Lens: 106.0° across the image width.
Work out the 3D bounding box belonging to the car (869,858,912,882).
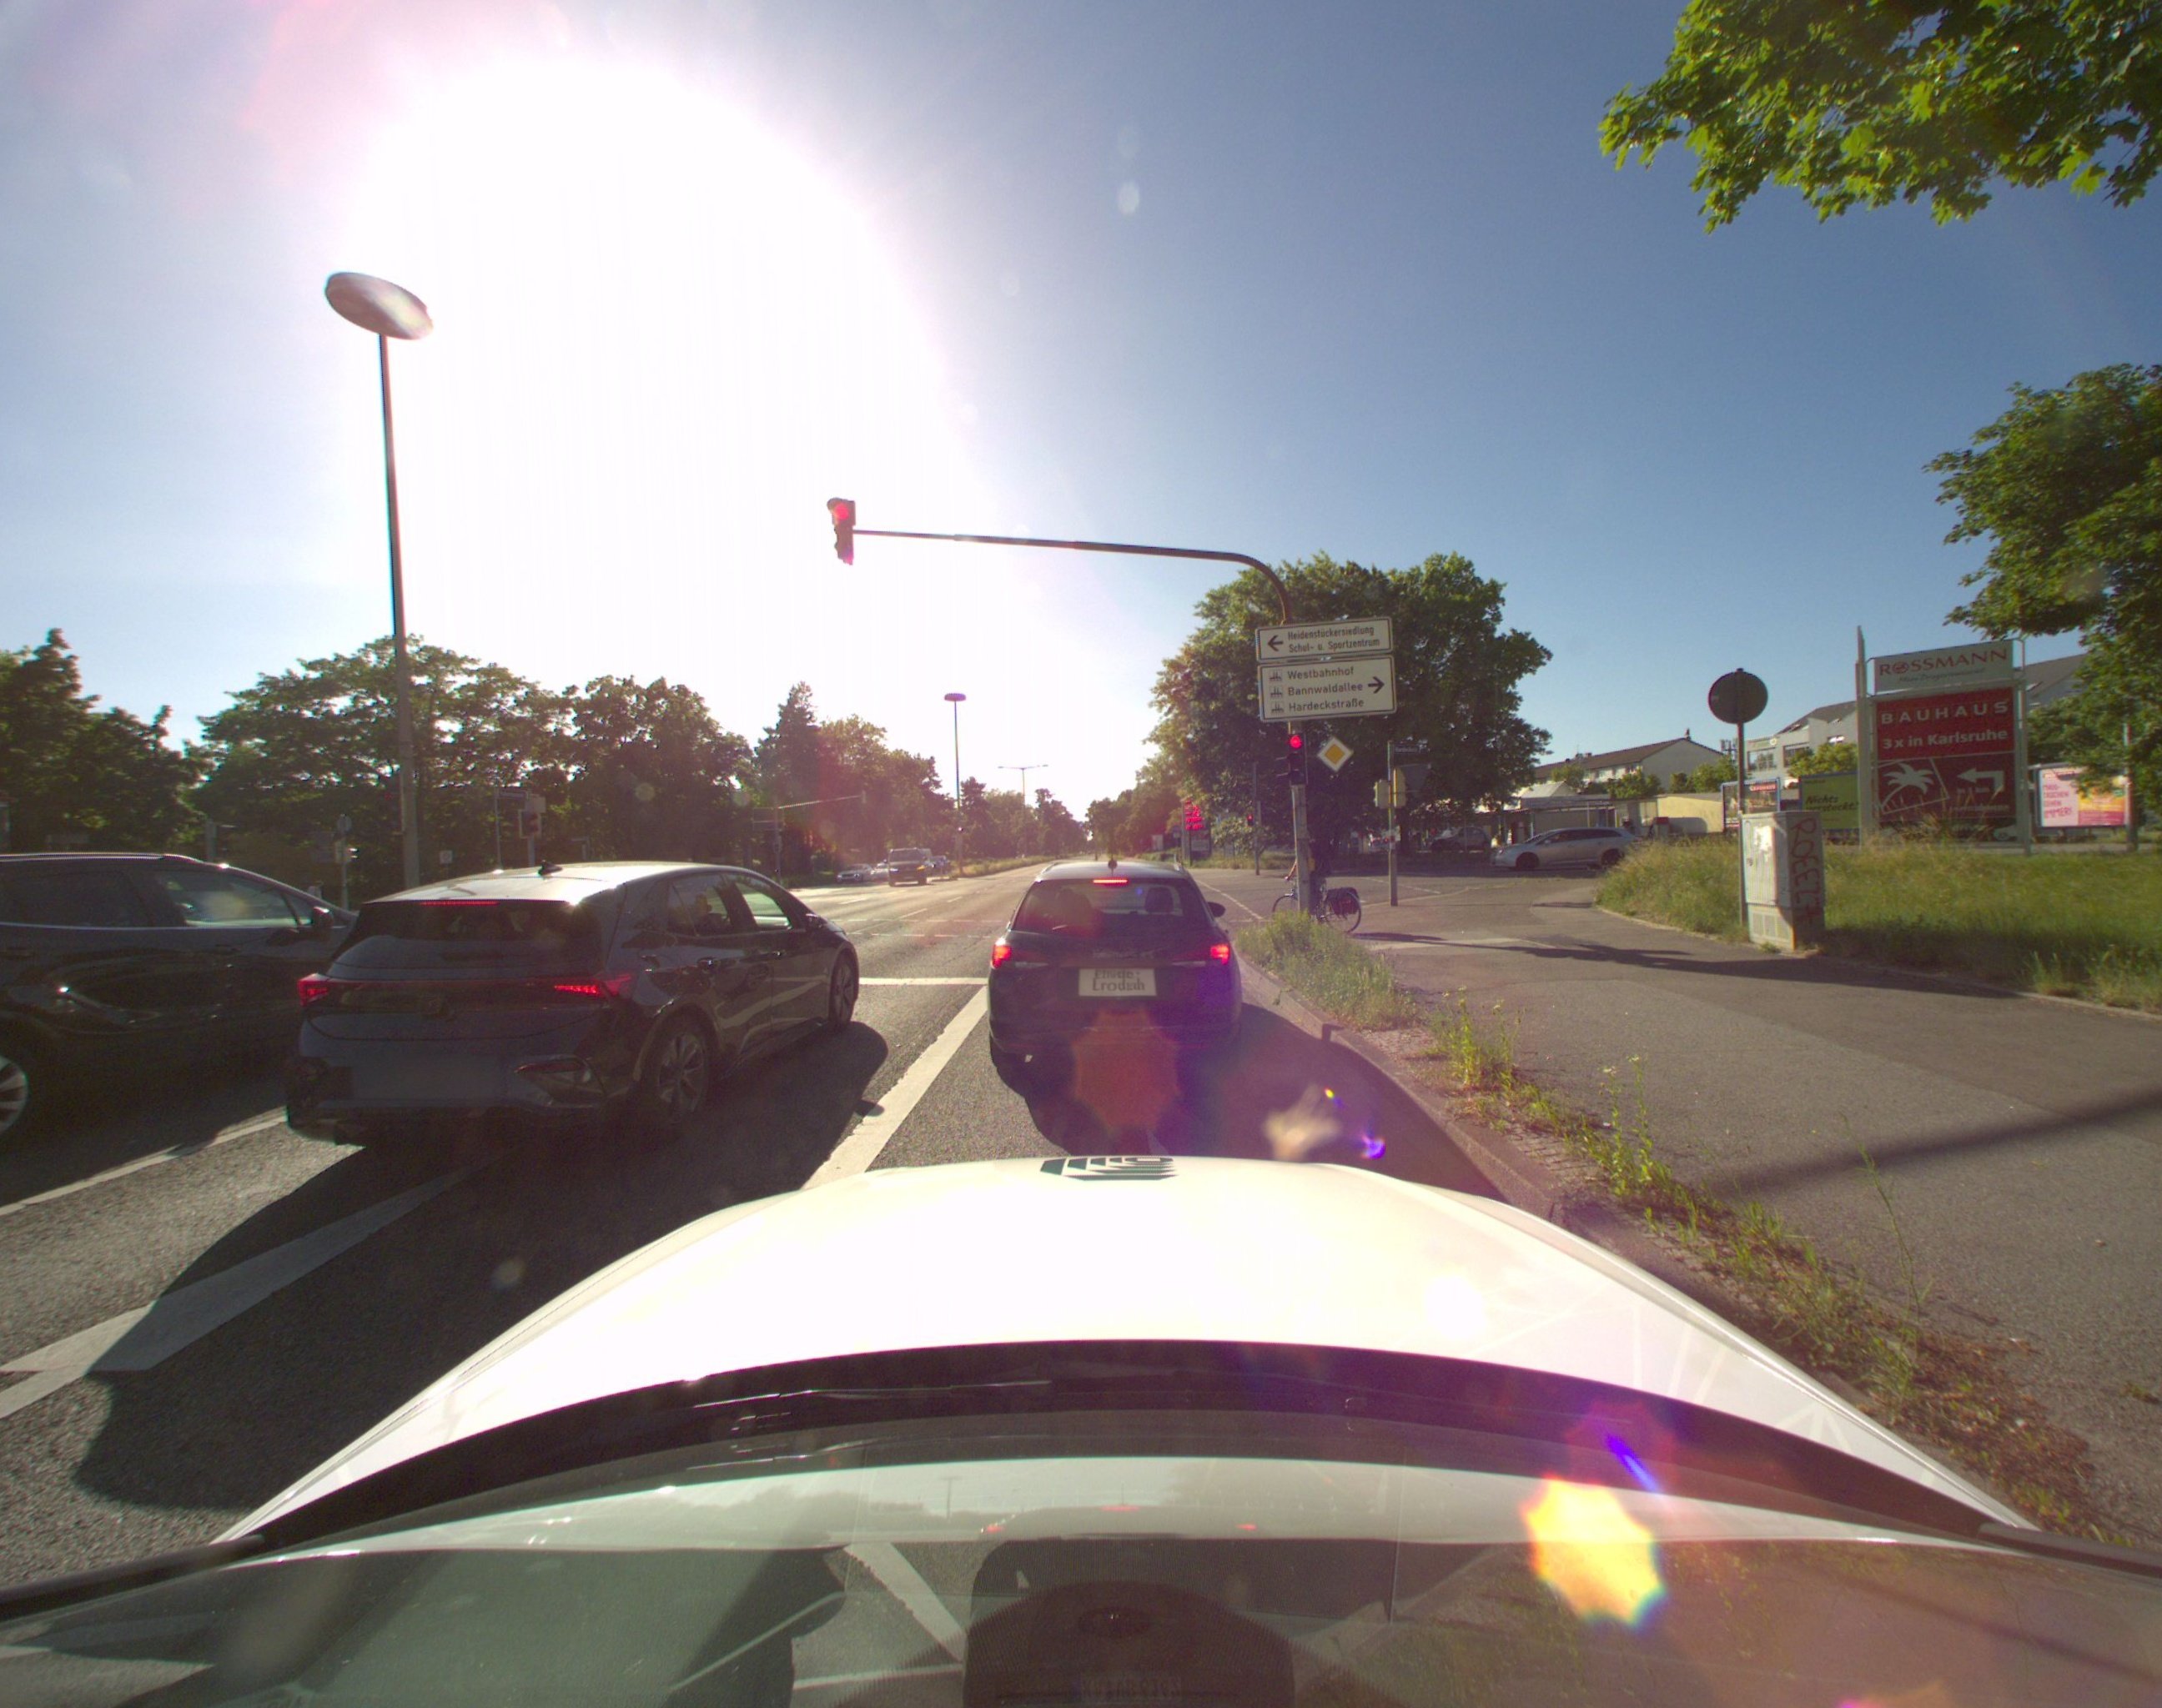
[{"bbox_3d":[-13.914,1.154,59.599,1.881,1.524,4.506,-3,0,2],"label":"car"}]

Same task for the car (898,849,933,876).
[{"bbox_3d":[-16.736,0.823,82.634,2.092,2.492,6.006,-3,0,2],"label":"car"}]

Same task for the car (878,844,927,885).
[{"bbox_3d":[-9.655,0.578,43.863,1.917,1.992,4.982,-3,0,-19],"label":"car"}]

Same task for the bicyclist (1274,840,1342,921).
[{"bbox_3d":[3.720,0.441,13.369,0.541,1.277,0.819,-3,-2,-42],"label":"bicyclist"}]

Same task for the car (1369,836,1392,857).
[{"bbox_3d":[25.657,-0.658,69.770,1.725,1.680,4.020,-3,0,20],"label":"car"}]

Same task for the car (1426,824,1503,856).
[{"bbox_3d":[22.377,-0.816,47.520,4.002,1.680,1.733,-3,0,-21],"label":"car"}]

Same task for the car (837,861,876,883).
[{"bbox_3d":[-17.122,1.344,62.294,1.680,1.509,4.005,-3,0,2],"label":"car"}]

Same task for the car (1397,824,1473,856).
[{"bbox_3d":[21.476,-0.842,49.400,4.003,1.750,1.985,-2,0,-22],"label":"car"}]

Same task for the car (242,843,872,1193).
[{"bbox_3d":[-2.957,0.767,5.849,1.678,1.580,4.208,-1,0,2],"label":"car"}]

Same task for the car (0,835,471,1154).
[{"bbox_3d":[-6.618,0.782,5.512,1.798,1.689,4.002,-3,0,2],"label":"car"}]

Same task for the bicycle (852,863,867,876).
[{"bbox_3d":[-22.683,1.546,83.497,0.873,1.212,2.534,-3,0,-3],"label":"bicycle"}]

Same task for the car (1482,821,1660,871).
[{"bbox_3d":[17.159,-0.264,28.787,4.969,1.486,2.007,-2,0,13],"label":"car"}]

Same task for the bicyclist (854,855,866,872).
[{"bbox_3d":[-22.673,0.944,83.438,0.874,1.648,1.198,-3,0,-3],"label":"bicyclist"}]

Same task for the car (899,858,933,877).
[{"bbox_3d":[-13.693,1.112,67.682,1.680,1.433,4.617,-3,0,2],"label":"car"}]

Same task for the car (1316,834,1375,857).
[{"bbox_3d":[19.326,-0.617,59.519,3.903,1.517,1.733,-3,0,-21],"label":"car"}]

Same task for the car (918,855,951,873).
[{"bbox_3d":[-13.645,0.910,76.000,1.986,1.601,4.617,-3,0,2],"label":"car"}]

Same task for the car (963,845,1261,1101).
[{"bbox_3d":[0.251,0.721,6.958,1.750,1.495,4.208,-1,0,2],"label":"car"}]

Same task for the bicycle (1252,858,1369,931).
[{"bbox_3d":[3.733,0.683,13.365,0.541,1.097,1.755,-3,-2,-42],"label":"bicycle"}]

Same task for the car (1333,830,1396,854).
[{"bbox_3d":[19.661,-0.824,56.427,3.903,1.517,1.733,-3,0,-21],"label":"car"}]

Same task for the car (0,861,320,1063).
[{"bbox_3d":[-10.221,0.982,7.914,1.824,1.702,3.999,-3,0,0],"label":"car"}]

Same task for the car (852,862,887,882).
[{"bbox_3d":[-17.531,1.449,67.630,1.680,1.509,4.004,-3,0,1],"label":"car"}]
